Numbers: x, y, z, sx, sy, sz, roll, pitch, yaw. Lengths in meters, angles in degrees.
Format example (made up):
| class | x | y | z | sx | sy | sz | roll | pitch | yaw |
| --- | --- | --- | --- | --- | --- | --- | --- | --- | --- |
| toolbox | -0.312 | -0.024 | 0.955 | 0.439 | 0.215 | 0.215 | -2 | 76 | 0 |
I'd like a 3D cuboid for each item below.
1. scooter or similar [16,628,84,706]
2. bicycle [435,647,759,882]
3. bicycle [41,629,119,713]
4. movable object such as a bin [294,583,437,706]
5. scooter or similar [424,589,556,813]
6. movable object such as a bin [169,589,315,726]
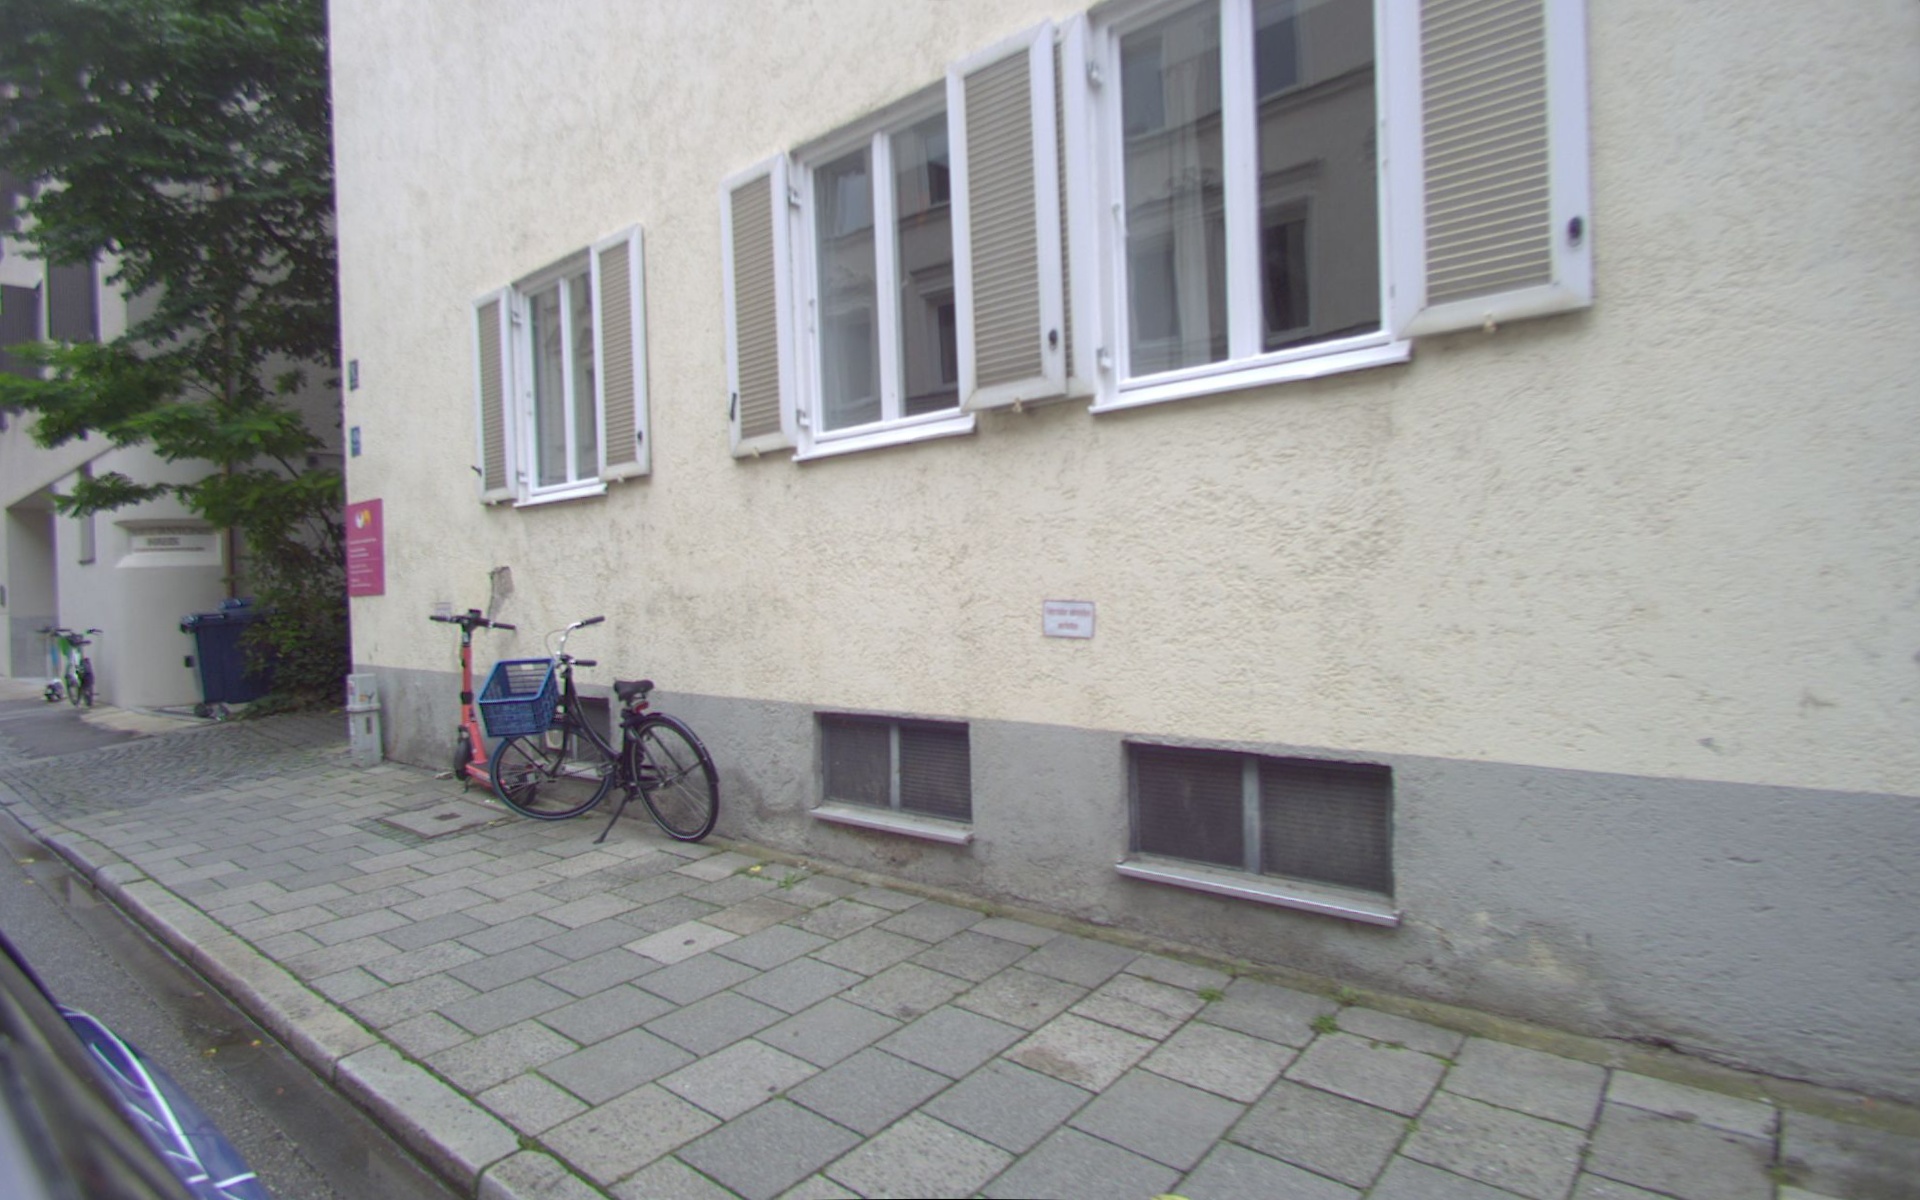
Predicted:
| class | x | y | z | sx | sy | sz | roll | pitch | yaw |
| --- | --- | --- | --- | --- | --- | --- | --- | --- | --- |
| scooter or similar | -14.972 | 1.082 | 16.677 | 0.544 | 1.152 | 1.362 | -4 | 2 | -33 |
| bicycle | -2.008 | 0.799 | 5.497 | 1.819 | 0.991 | 0.697 | -1 | 4 | 36 |
| bicycle | -13.378 | 1.042 | 15.367 | 1.880 | 1.170 | 0.539 | -1 | 2 | 39 |
| movable object such as a bin | -7.791 | 0.568 | 13.267 | 1.248 | 1.415 | 1.162 | -3 | 4 | 42 |
| scooter or similar | -3.177 | 0.631 | 6.802 | 1.238 | 1.386 | 0.314 | -1 | -1 | 41 |
| movable object such as a bin | -8.827 | 0.678 | 12.434 | 1.161 | 1.452 | 1.250 | -8 | 4 | -44 |
